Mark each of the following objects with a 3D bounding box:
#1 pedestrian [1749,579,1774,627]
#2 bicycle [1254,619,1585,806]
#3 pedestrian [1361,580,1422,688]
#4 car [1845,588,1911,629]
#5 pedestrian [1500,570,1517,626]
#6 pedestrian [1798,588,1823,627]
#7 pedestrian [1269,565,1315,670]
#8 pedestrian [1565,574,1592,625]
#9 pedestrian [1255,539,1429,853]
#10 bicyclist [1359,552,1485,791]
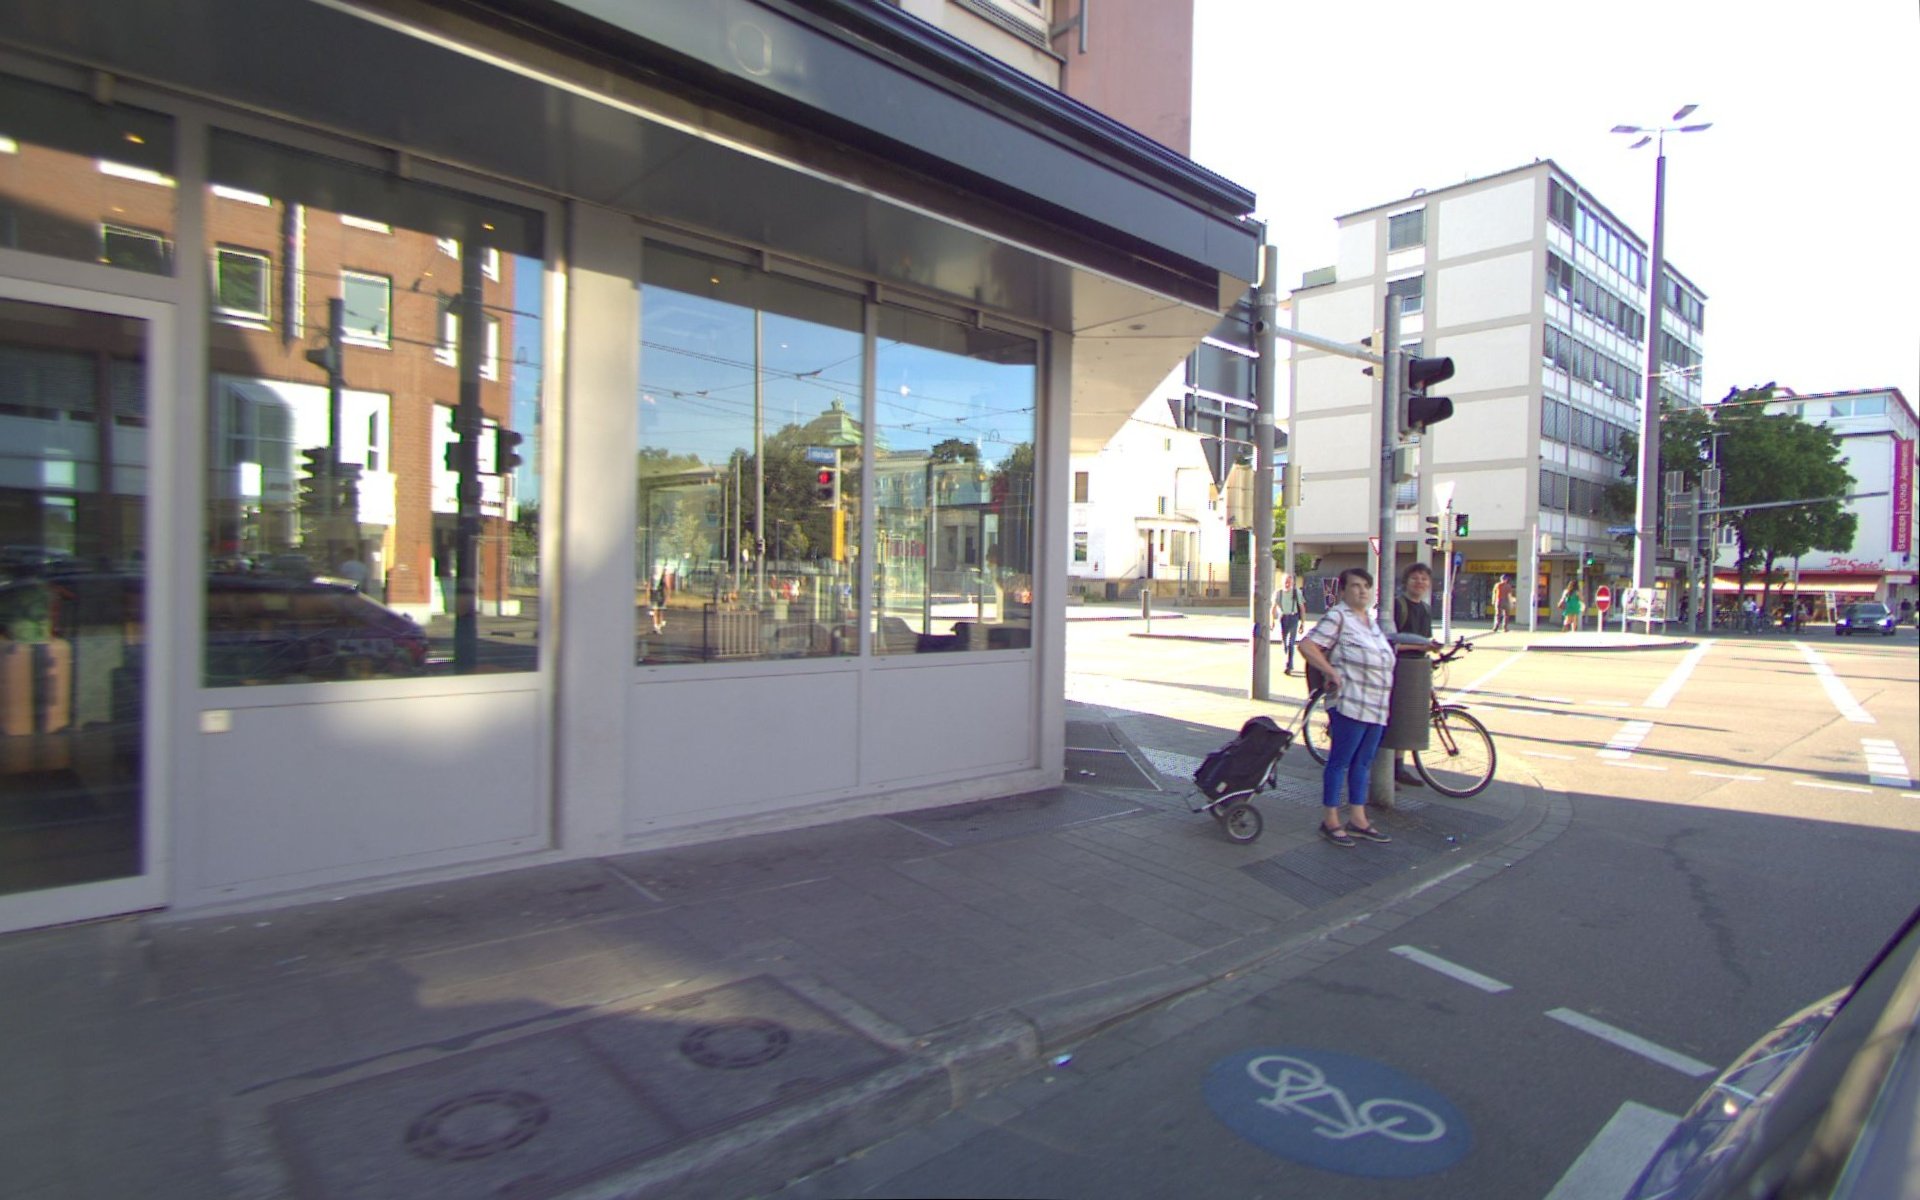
[{"bbox_3d":[34.631,0.125,43.724,0.742,2.039,1.058,-1,-1,34],"label":"pedestrian"},{"bbox_3d":[3.434,0.765,7.736,2.170,1.138,0.757,2,2,44],"label":"bicycle"},{"bbox_3d":[6.452,0.483,15.114,0.687,1.554,0.606,2,1,37],"label":"pedestrian"},{"bbox_3d":[40.513,0.356,44.602,1.967,1.695,4.796,0,0,45],"label":"car"},{"bbox_3d":[17.236,-0.064,31.803,0.404,1.740,0.390,-1,-1,36],"label":"pedestrian"},{"bbox_3d":[39.209,0.334,46.653,0.858,1.731,1.035,0,0,43],"label":"pedestrian"},{"bbox_3d":[5.884,0.296,17.919,0.647,1.790,0.805,2,1,26],"label":"pedestrian"},{"bbox_3d":[18.065,-0.008,29.549,0.593,1.461,0.606,-1,-1,36],"label":"pedestrian"},{"bbox_3d":[2.263,0.513,5.983,0.634,1.681,0.758,6,4,38],"label":"pedestrian"},{"bbox_3d":[3.508,0.497,7.677,0.635,1.699,0.757,2,1,44],"label":"bicyclist"}]
